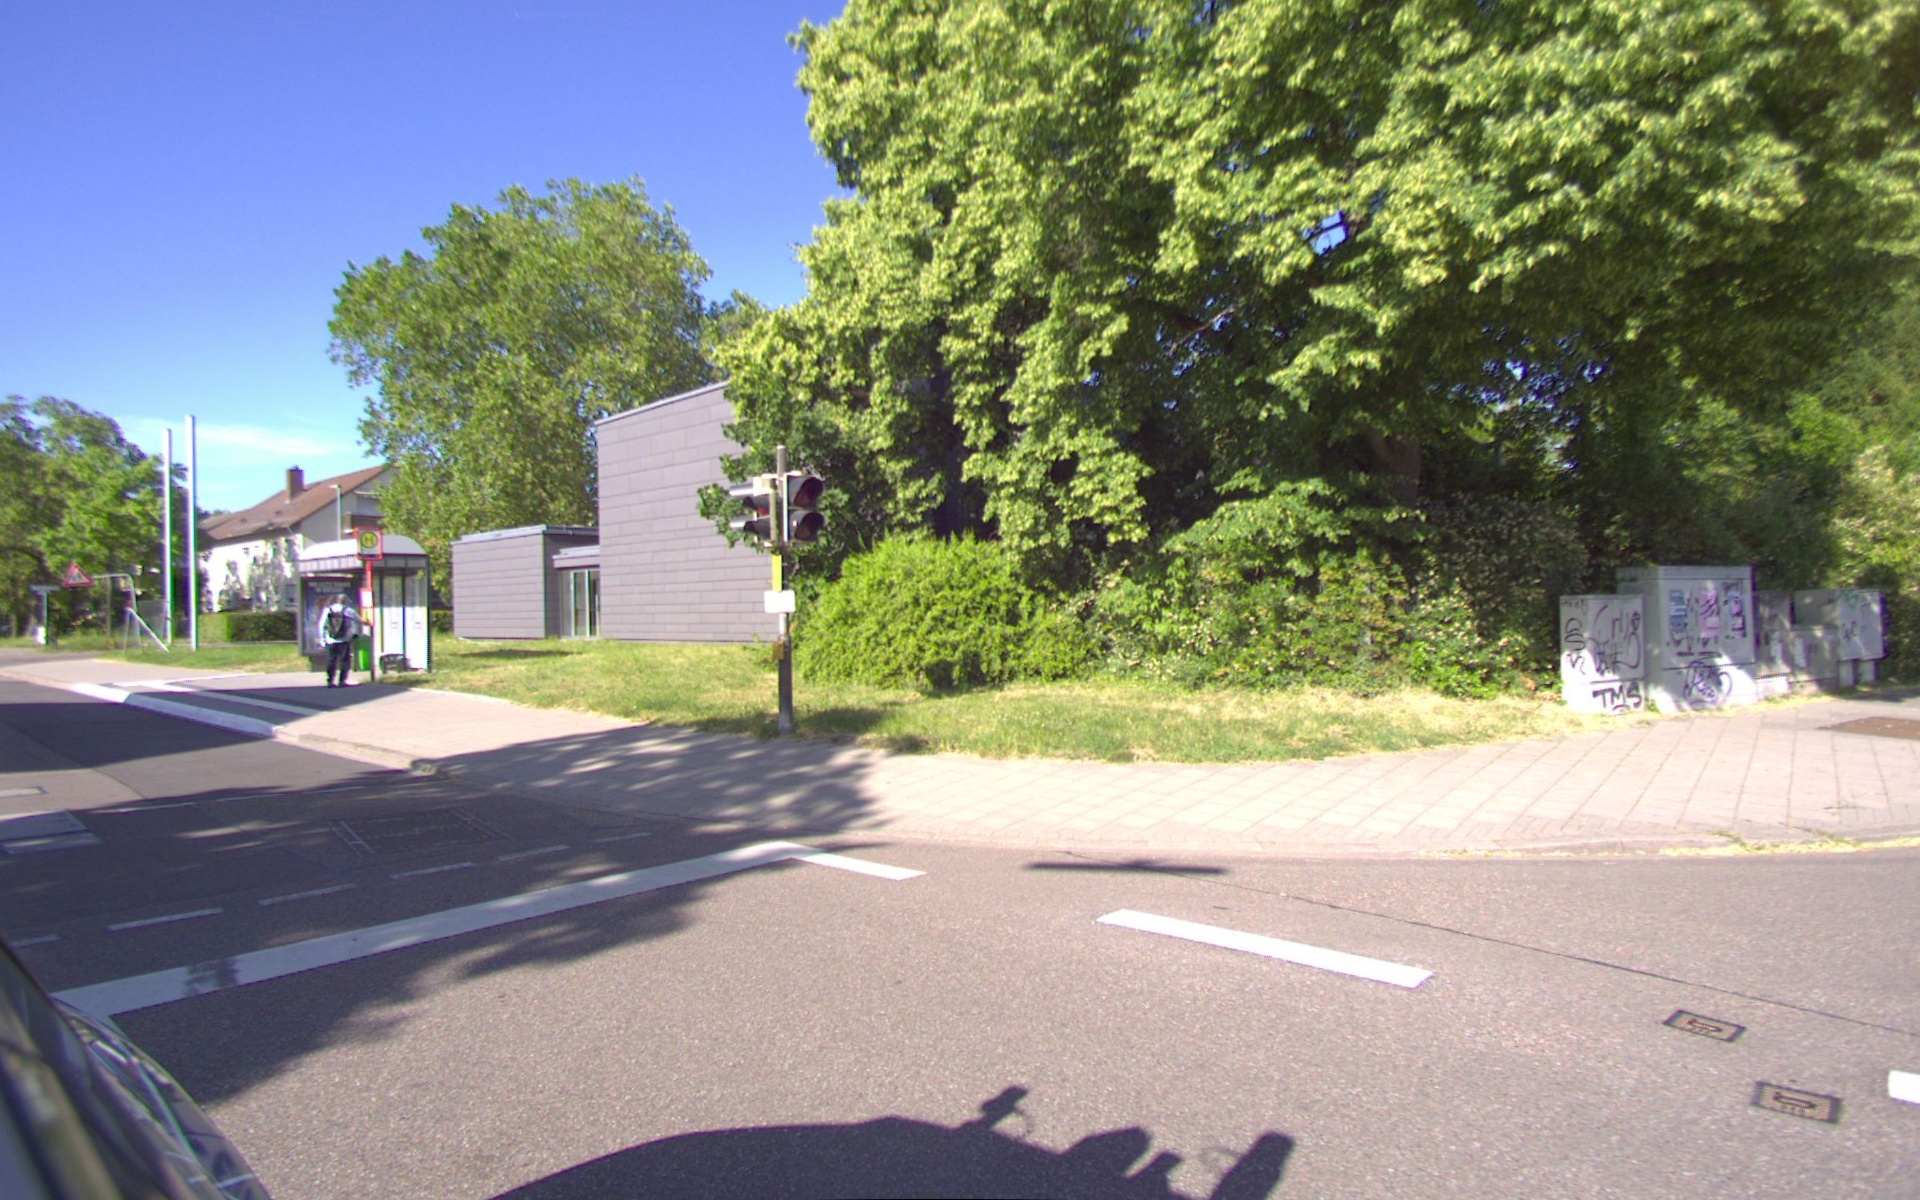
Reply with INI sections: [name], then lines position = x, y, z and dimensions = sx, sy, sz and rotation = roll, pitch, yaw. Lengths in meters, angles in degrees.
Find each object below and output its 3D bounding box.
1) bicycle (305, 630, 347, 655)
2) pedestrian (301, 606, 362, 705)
[bicycle]
position = -28.570, 1.912, 45.594
dimensions = 1.574, 0.992, 0.501
rotation = -2, -2, -34
[pedestrian]
position = -12.092, 1.044, 19.491
dimensions = 0.706, 1.816, 0.773
rotation = -2, 2, -10
